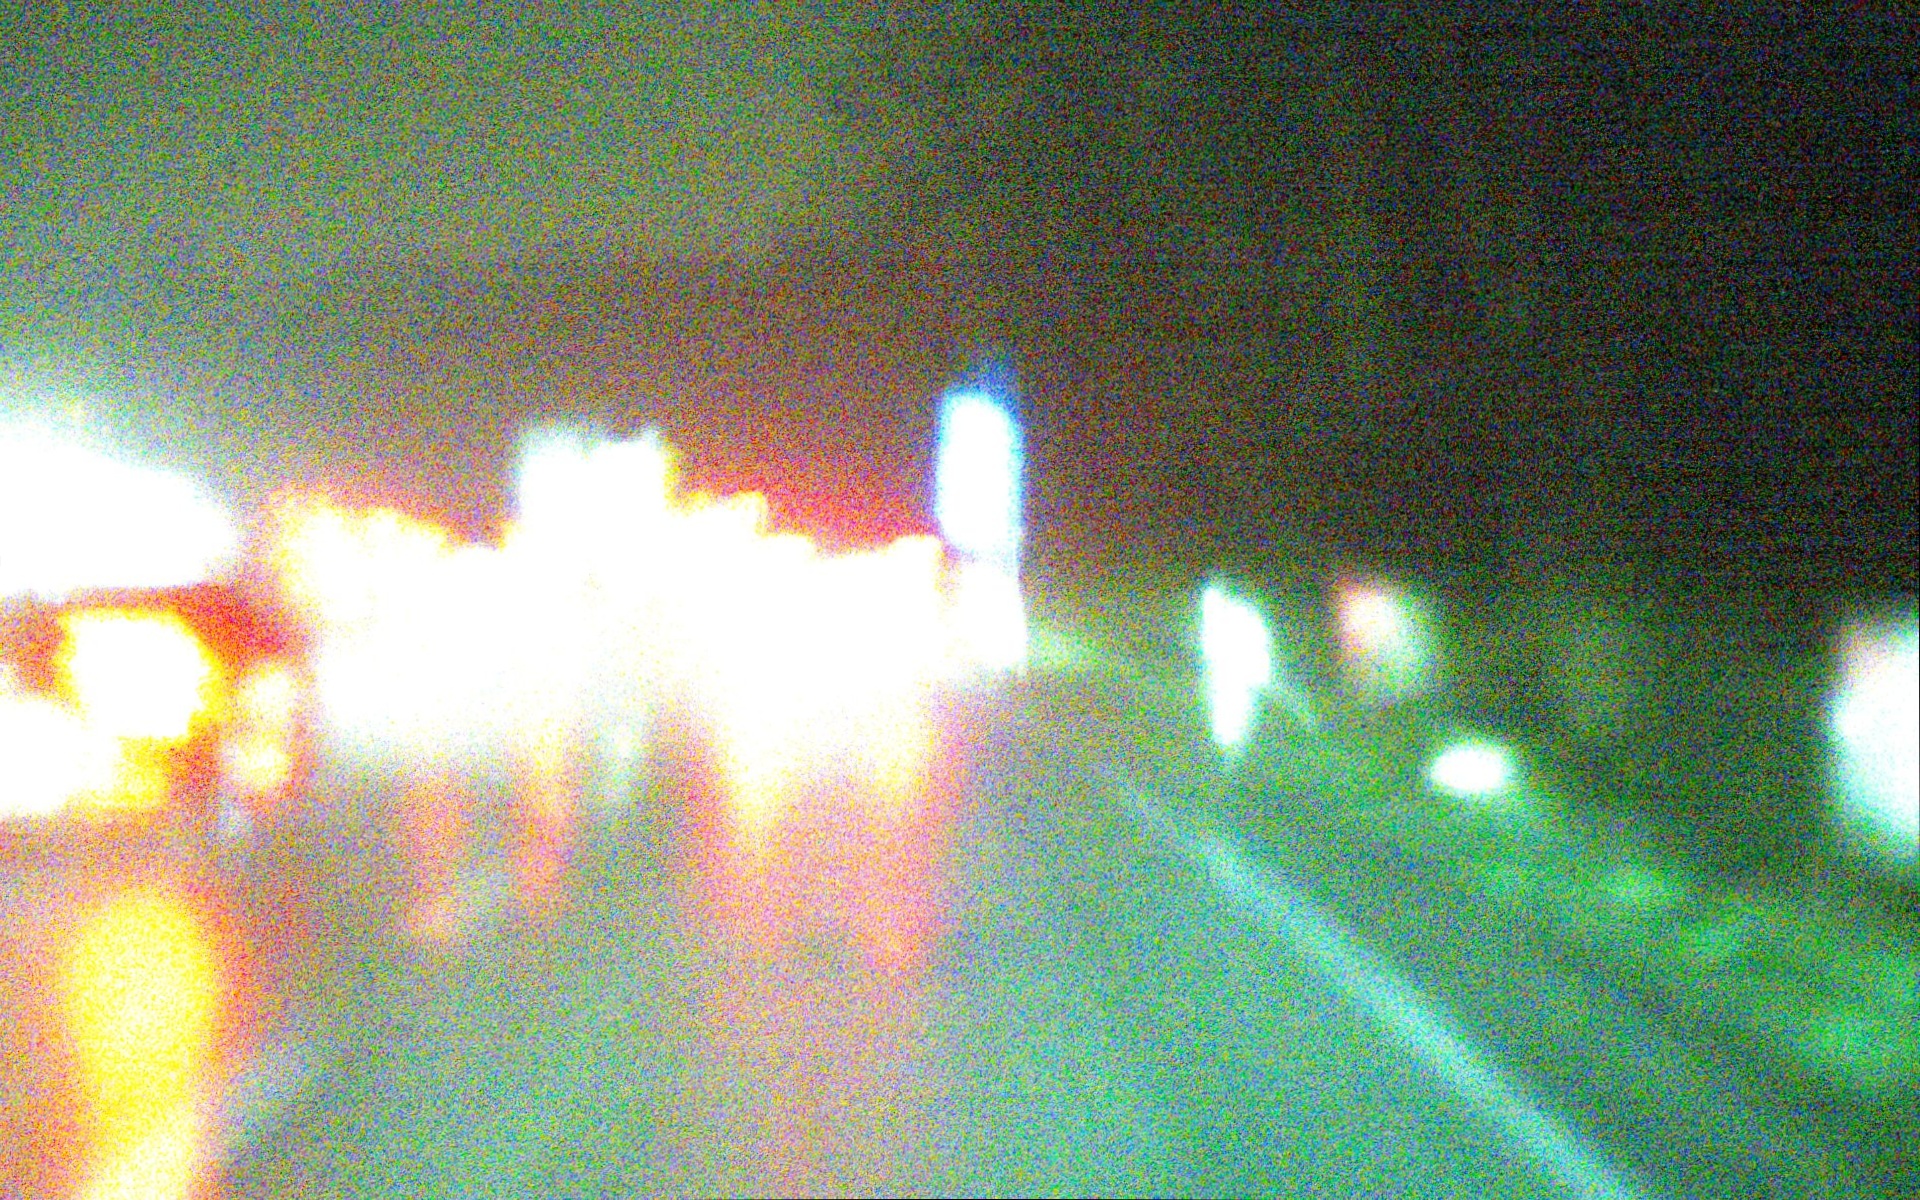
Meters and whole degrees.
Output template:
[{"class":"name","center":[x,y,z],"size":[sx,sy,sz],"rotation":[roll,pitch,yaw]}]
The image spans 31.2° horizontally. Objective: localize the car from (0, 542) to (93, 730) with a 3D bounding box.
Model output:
[{"class":"car","center":[-8.651,0.267,28.589],"size":[1.767,1.512,4.915],"rotation":[1,1,-2]}]

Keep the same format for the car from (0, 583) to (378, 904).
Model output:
[{"class":"car","center":[-4.289,0.625,17.242],"size":[1.962,1.376,4.049],"rotation":[2,0,1]}]

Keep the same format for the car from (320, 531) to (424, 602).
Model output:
[{"class":"car","center":[-13.512,-0.757,79.141],"size":[1.892,1.545,4.000],"rotation":[1,0,-3]}]
